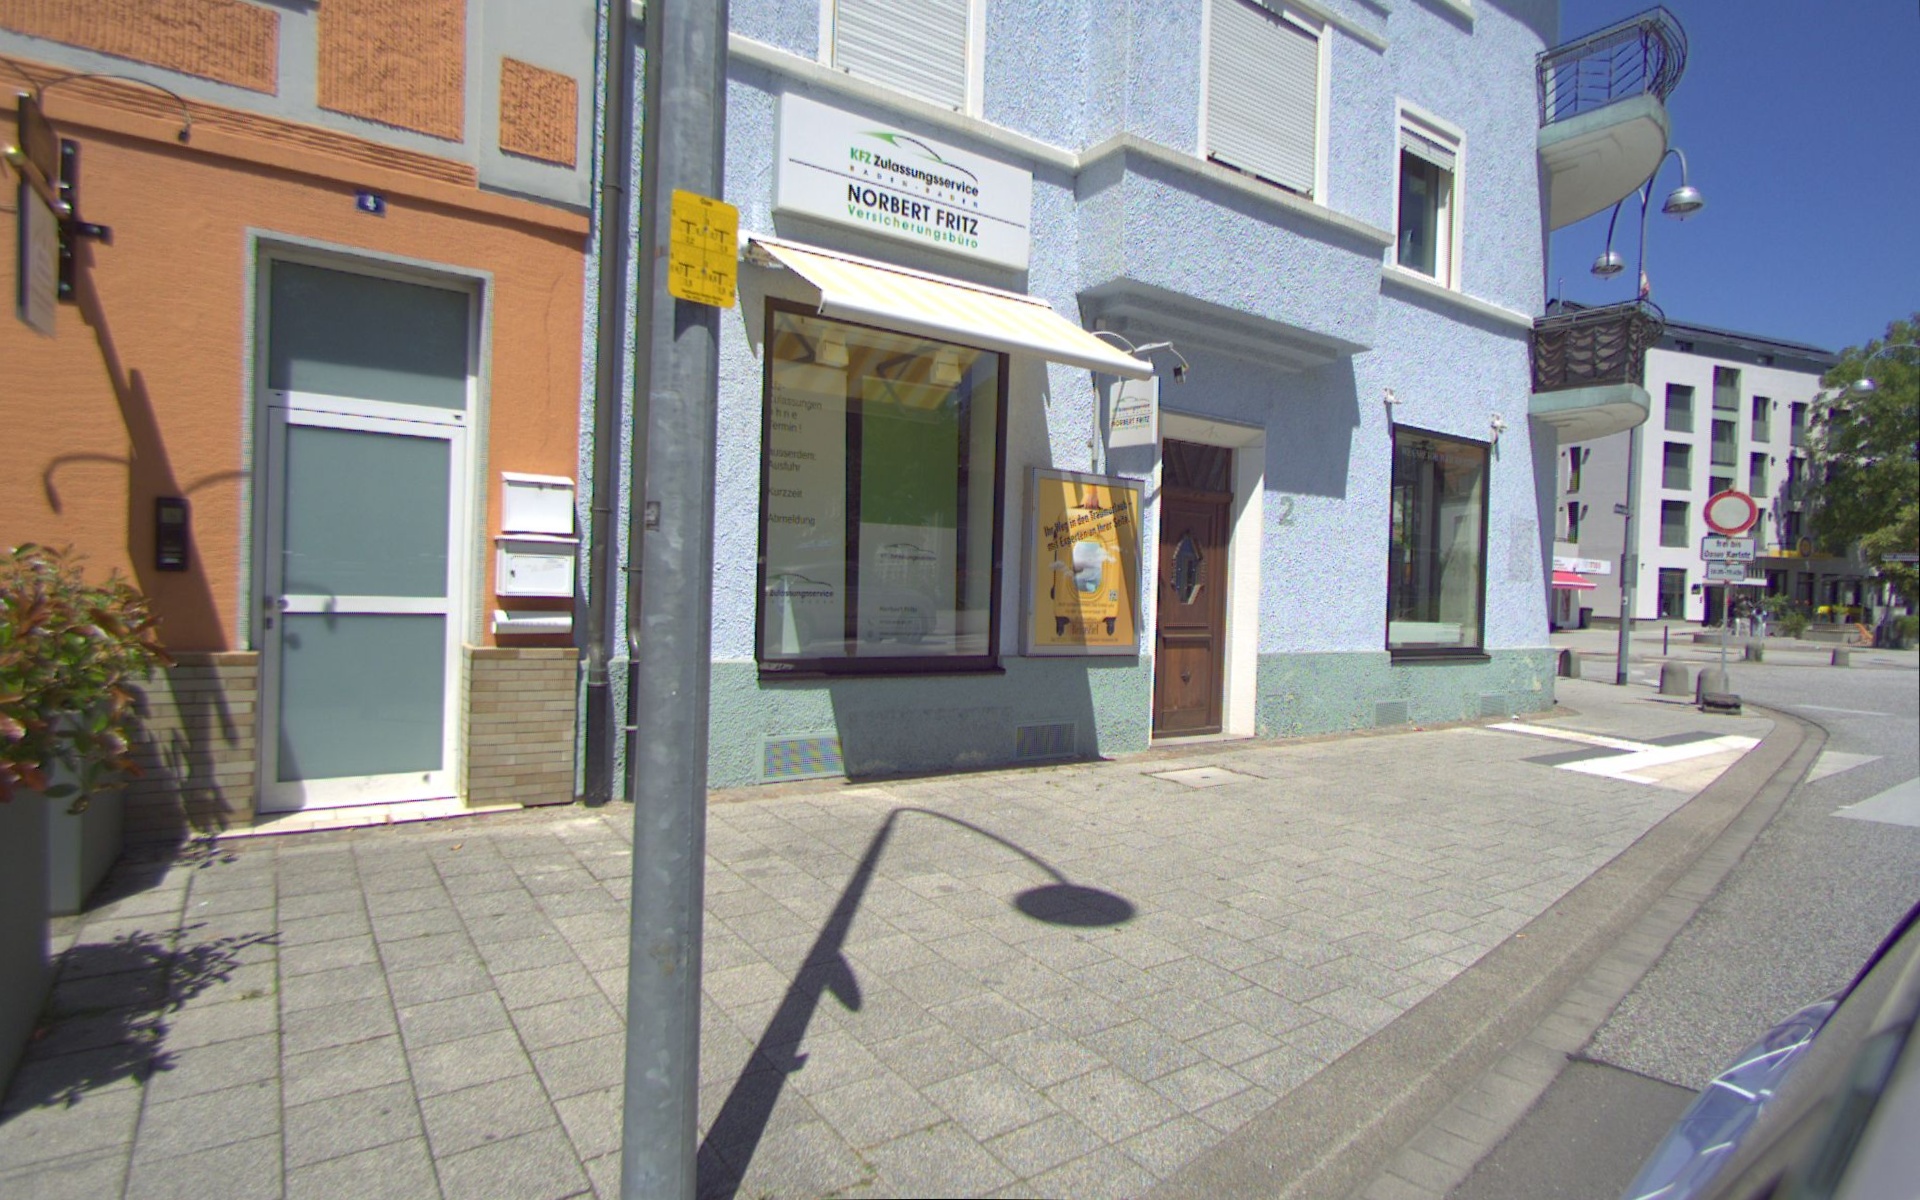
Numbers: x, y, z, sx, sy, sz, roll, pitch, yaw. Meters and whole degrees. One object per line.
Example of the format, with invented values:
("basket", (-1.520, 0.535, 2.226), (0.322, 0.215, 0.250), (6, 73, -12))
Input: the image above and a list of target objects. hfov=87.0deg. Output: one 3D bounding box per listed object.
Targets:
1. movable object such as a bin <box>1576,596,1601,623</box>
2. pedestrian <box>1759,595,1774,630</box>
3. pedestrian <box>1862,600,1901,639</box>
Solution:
("movable object such as a bin", (30.248, 0.442, 48.683), (0.821, 1.268, 0.747), (1, 0, -33))
("pedestrian", (38.106, 0.599, 47.821), (0.442, 1.639, 0.450), (1, 0, -37))
("pedestrian", (40.313, 0.859, 44.264), (0.932, 1.669, 0.819), (1, 0, -5))
